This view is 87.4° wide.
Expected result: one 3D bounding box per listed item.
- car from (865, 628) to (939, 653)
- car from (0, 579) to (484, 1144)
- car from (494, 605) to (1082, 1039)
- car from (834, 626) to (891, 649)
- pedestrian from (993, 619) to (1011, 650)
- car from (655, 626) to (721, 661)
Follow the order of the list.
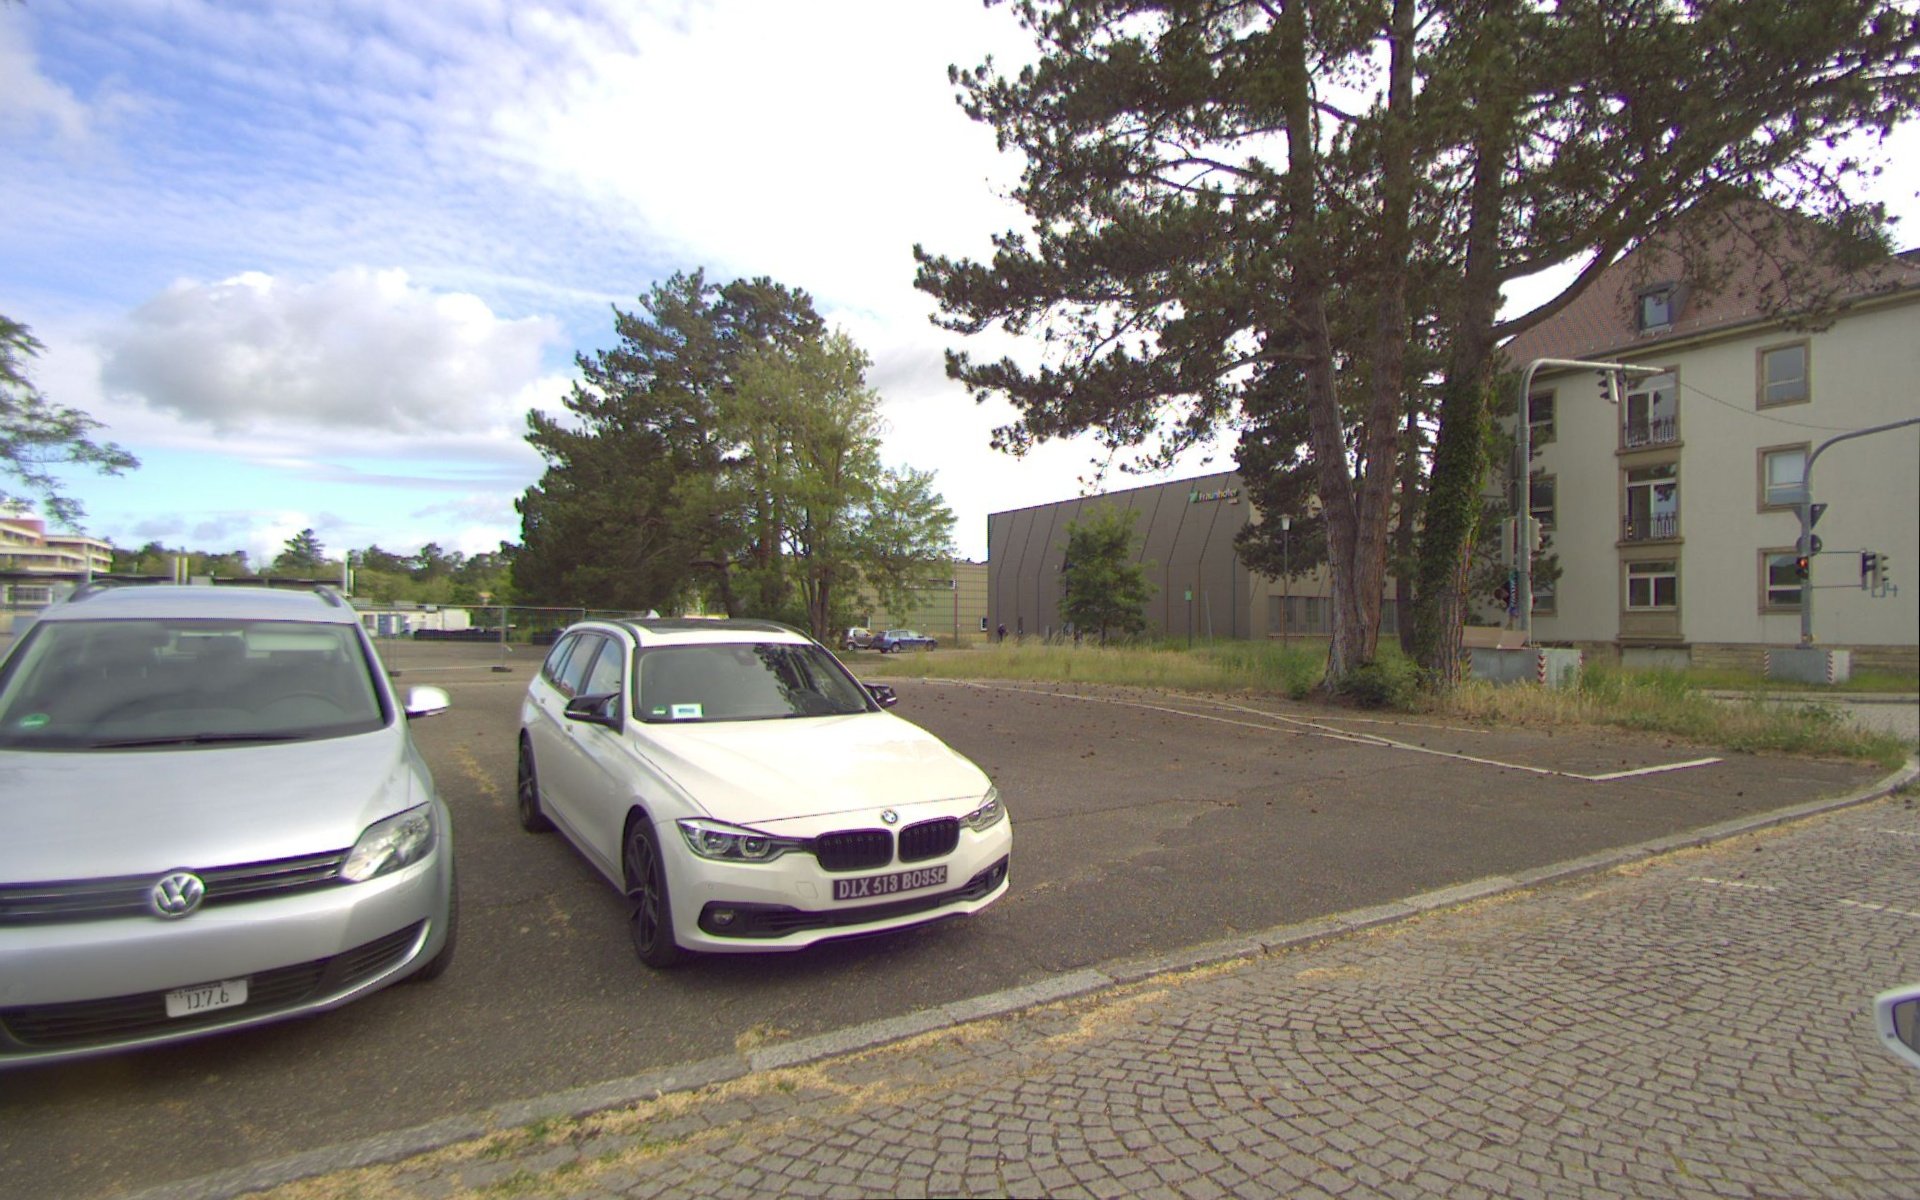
[{"bbox_3d":[-3.744,2.632,65.317,4.406,1.449,1.985,-1,-1,-30],"label":"car"},{"bbox_3d":[-3.519,0.726,4.707,1.707,1.568,3.961,1,1,-35],"label":"car"},{"bbox_3d":[-1.463,0.840,6.101,1.783,1.463,4.618,1,1,-34],"label":"car"},{"bbox_3d":[-6.981,2.666,71.998,3.616,1.449,1.985,-1,-1,-30],"label":"car"},{"bbox_3d":[2.789,2.302,66.892,0.890,2.040,0.914,1,-2,-29],"label":"pedestrian"},{"bbox_3d":[-11.755,1.834,43.236,1.678,1.410,3.965,1,-2,-32],"label":"car"}]
